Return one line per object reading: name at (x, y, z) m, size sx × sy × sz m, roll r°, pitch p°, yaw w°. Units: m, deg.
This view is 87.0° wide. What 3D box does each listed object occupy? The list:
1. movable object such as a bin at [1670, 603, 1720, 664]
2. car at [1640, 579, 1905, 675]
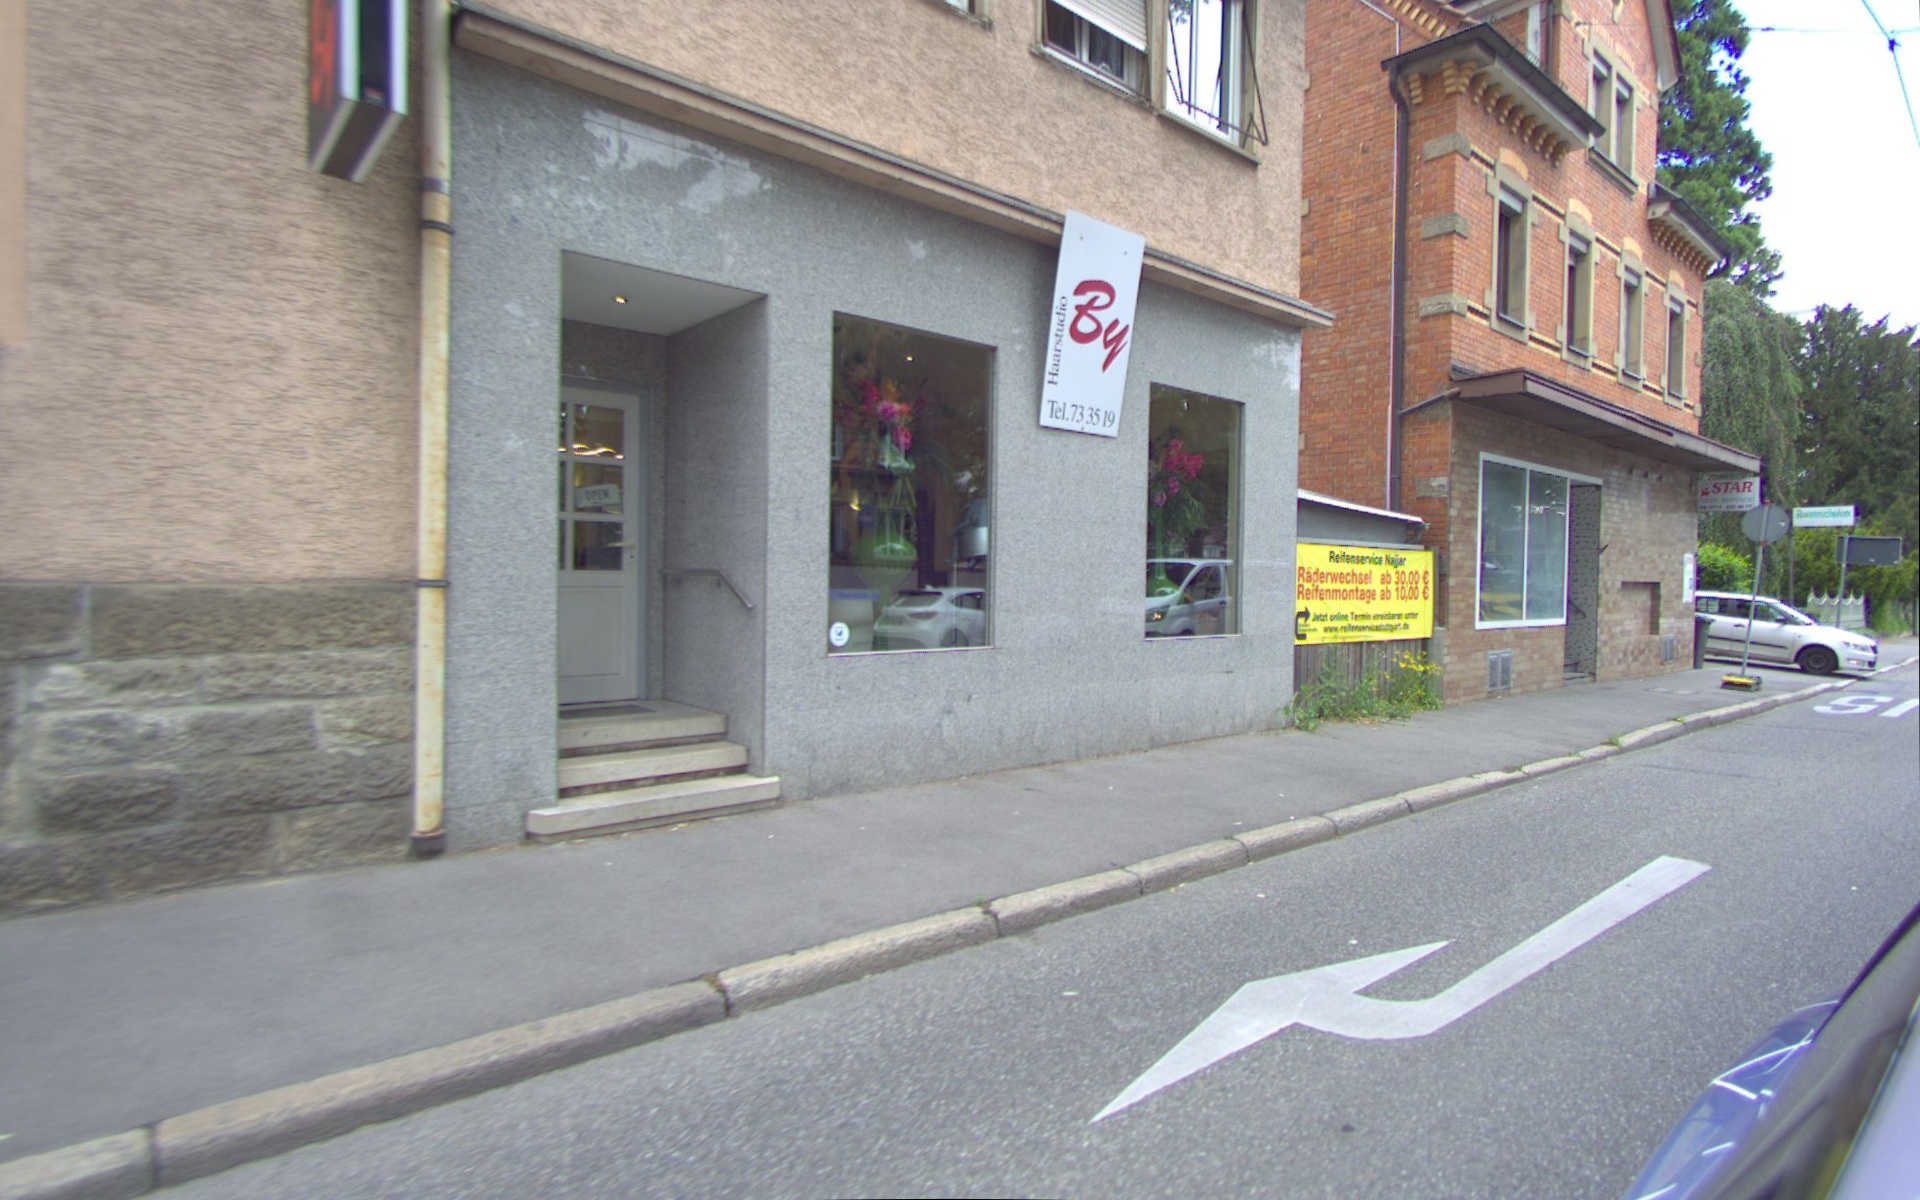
movable object such as a bin at (14.277, 0.638, 19.660) m, size 0.611 × 1.114 × 0.608 m, roll 0°, pitch 3°, yaw -40°
car at (16.886, 0.470, 21.196) m, size 1.574 × 1.487 × 4.038 m, roll -1°, pitch 6°, yaw -42°
